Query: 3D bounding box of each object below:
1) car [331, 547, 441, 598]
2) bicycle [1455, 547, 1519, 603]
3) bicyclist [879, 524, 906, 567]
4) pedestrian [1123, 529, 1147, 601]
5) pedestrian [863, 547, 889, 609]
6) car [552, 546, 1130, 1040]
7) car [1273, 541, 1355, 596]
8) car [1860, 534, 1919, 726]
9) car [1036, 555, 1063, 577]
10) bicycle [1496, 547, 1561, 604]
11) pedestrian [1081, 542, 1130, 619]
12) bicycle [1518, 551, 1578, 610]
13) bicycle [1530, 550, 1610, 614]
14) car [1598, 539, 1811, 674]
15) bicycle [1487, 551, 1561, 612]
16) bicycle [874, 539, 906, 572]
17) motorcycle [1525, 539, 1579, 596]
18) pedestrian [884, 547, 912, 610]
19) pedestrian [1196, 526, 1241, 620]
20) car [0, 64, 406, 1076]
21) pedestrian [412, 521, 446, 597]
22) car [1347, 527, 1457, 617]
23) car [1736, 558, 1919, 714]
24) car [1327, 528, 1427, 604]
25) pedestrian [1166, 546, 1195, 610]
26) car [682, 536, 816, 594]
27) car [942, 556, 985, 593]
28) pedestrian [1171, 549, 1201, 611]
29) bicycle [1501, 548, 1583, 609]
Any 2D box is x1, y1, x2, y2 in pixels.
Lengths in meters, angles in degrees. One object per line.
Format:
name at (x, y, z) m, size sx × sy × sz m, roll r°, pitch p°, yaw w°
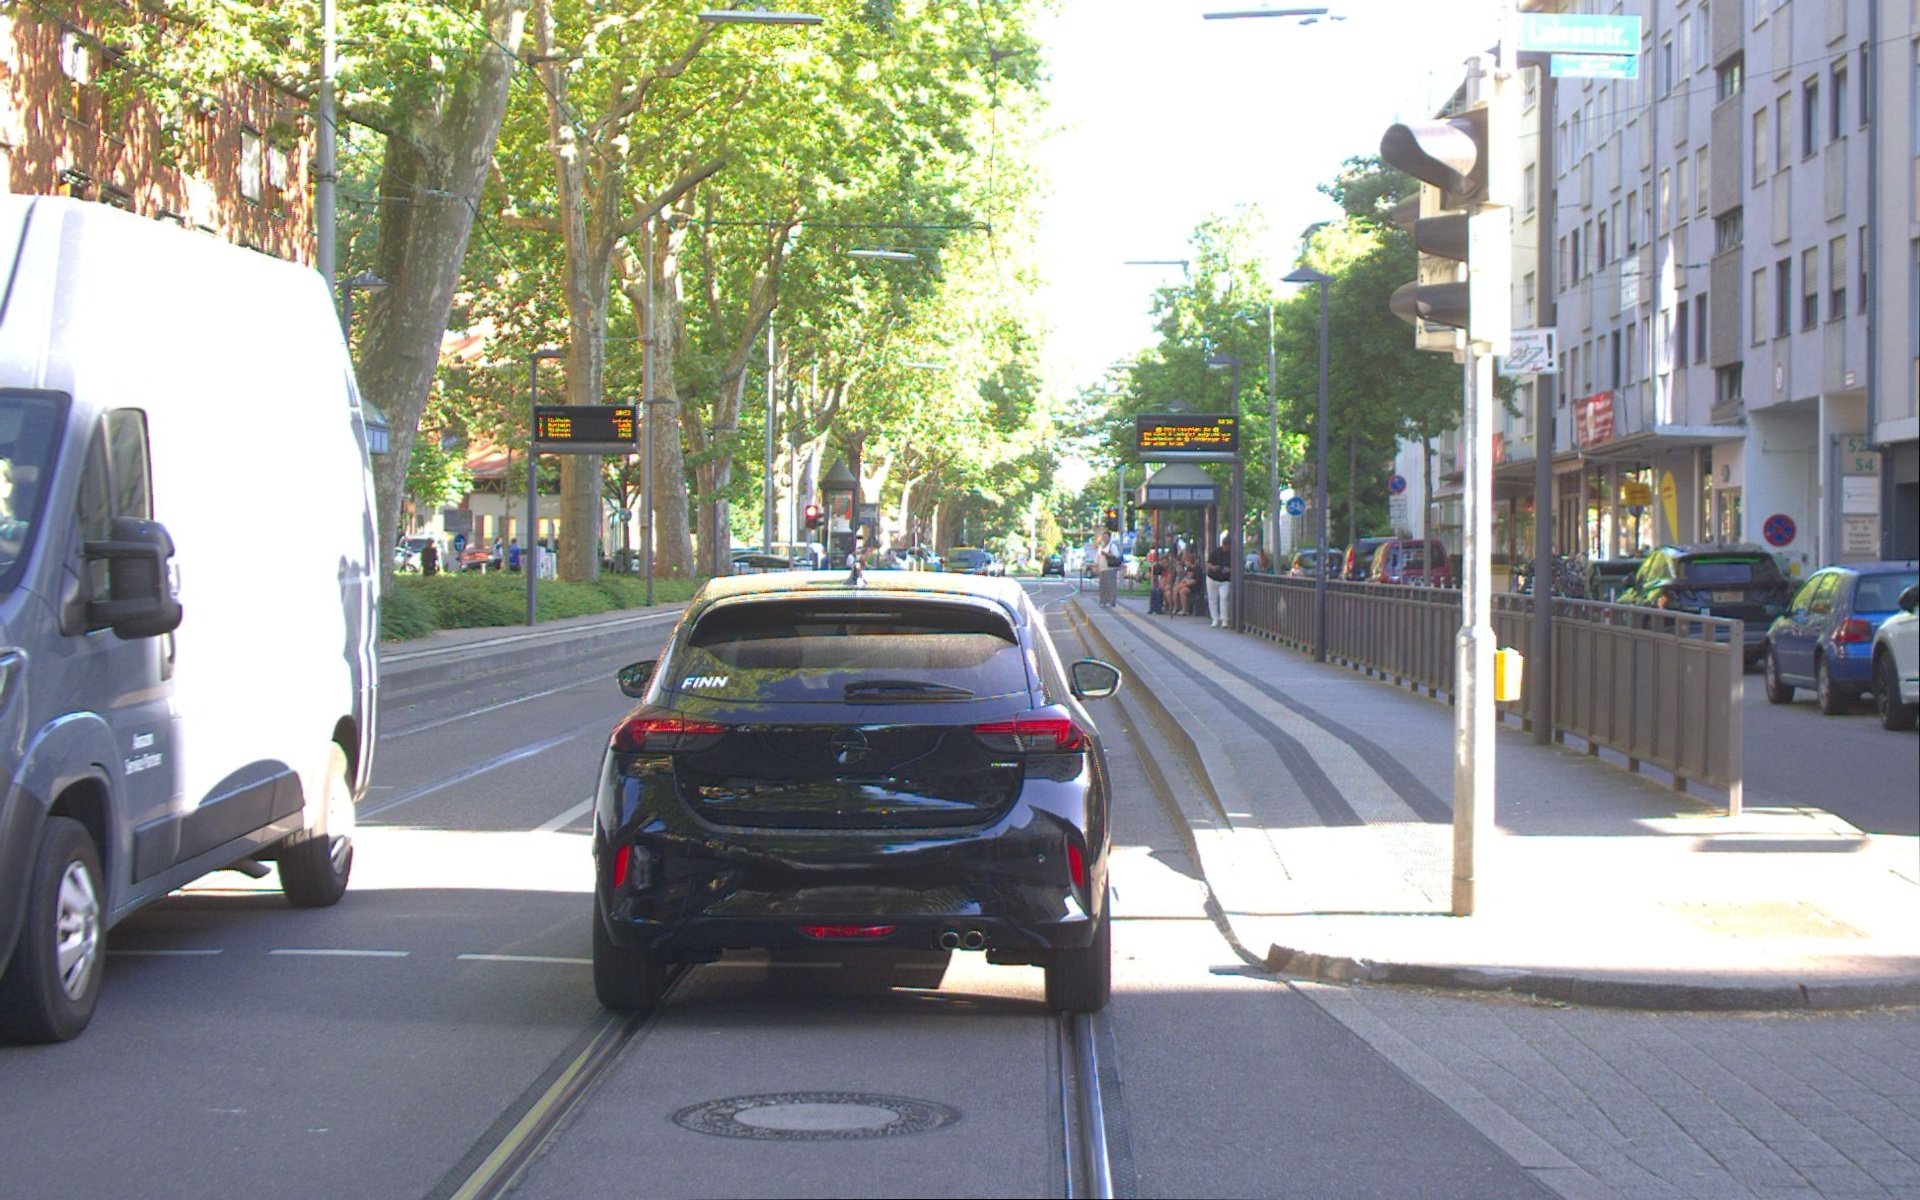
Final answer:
car at (-24.304, -1.159, 145.719) m, size 4.250 × 2.007 × 2.000 m, roll 2°, pitch 0°, yaw 1°
bicycle at (10.861, -0.524, 70.930) m, size 0.597 × 1.132 × 2.204 m, roll 1°, pitch 0°, yaw -10°
bicyclist at (-2.710, -2.191, 137.974) m, size 0.941 × 1.697 × 1.153 m, roll 1°, pitch 0°, yaw 4°
pedestrian at (4.156, -0.833, 81.694) m, size 0.531 × 1.703 × 0.752 m, roll 1°, pitch 0°, yaw 4°
pedestrian at (-2.770, -0.722, 112.910) m, size 0.675 × 2.007 × 0.701 m, roll 3°, pitch 1°, yaw 7°
car at (-0.389, 0.579, 12.341) m, size 1.759 × 1.503 × 3.683 m, roll 0°, pitch 0°, yaw -1°
car at (10.046, -0.900, 97.797) m, size 1.993 × 1.481 × 4.000 m, roll 1°, pitch 0°, yaw 1°
car at (8.898, 0.272, 28.454) m, size 1.799 × 1.600 × 4.415 m, roll 1°, pitch 0°, yaw 1°
car at (6.354, -2.428, 245.004) m, size 1.745 × 1.539 × 4.000 m, roll 1°, pitch 0°, yaw 0°
bicycle at (11.548, -0.499, 69.899) m, size 0.597 × 1.132 × 2.204 m, roll 1°, pitch 0°, yaw -10°
pedestrian at (3.274, -0.440, 77.332) m, size 0.751 × 1.703 × 0.762 m, roll 2°, pitch 0°, yaw 36°
bicycle at (11.564, -0.385, 67.666) m, size 0.410 × 1.132 × 2.204 m, roll 1°, pitch 0°, yaw -10°
bicycle at (11.166, -0.339, 62.994) m, size 0.621 × 1.132 × 2.440 m, roll 1°, pitch 0°, yaw -10°
car at (9.576, 0.068, 44.523) m, size 1.857 × 1.610 × 4.397 m, roll 1°, pitch 0°, yaw 1°
bicycle at (10.729, -0.360, 65.435) m, size 0.602 × 1.132 × 2.435 m, roll 1°, pitch 0°, yaw -10°
bicycle at (-2.793, -1.765, 137.081) m, size 0.955 × 1.236 × 2.977 m, roll 2°, pitch 0°, yaw 4°
motorcycle at (13.502, -0.738, 78.459) m, size 0.892 × 1.276 × 2.043 m, roll 1°, pitch 0°, yaw 1°
pedestrian at (-2.036, -0.707, 112.769) m, size 0.676 × 2.007 × 0.701 m, roll 3°, pitch 1°, yaw 13°
pedestrian at (4.401, -0.464, 58.587) m, size 0.631 × 1.571 × 0.870 m, roll 3°, pitch 1°, yaw 1°
car at (-3.587, -0.097, 12.265) m, size 2.113 × 2.729 × 6.115 m, roll 0°, pitch 0°, yaw 1°
pedestrian at (-13.728, -1.062, 88.907) m, size 0.672 × 1.943 × 0.497 m, roll 2°, pitch 0°, yaw 18°
car at (10.103, -0.639, 78.876) m, size 1.993 × 1.946 × 4.000 m, roll 1°, pitch 0°, yaw 1°
car at (9.043, 0.336, 34.198) m, size 1.744 × 1.435 × 4.247 m, roll 1°, pitch 0°, yaw 1°
car at (10.325, -0.847, 85.411) m, size 1.993 × 1.791 × 4.000 m, roll 1°, pitch 0°, yaw 1°
pedestrian at (4.541, -0.450, 70.789) m, size 0.502 × 1.300 × 0.429 m, roll 1°, pitch 0°, yaw -3°
car at (-6.660, -1.107, 108.324) m, size 4.113 × 1.695 × 1.884 m, roll 1°, pitch 0°, yaw -6°
car at (0.139, -1.091, 148.232) m, size 1.745 × 1.539 × 4.000 m, roll 1°, pitch 0°, yaw 0°
pedestrian at (4.570, -0.409, 69.544) m, size 0.534 × 1.226 × 0.510 m, roll 1°, pitch 0°, yaw -3°
bicycle at (11.216, -0.420, 66.356) m, size 0.611 × 1.132 × 2.922 m, roll 1°, pitch 0°, yaw -10°
